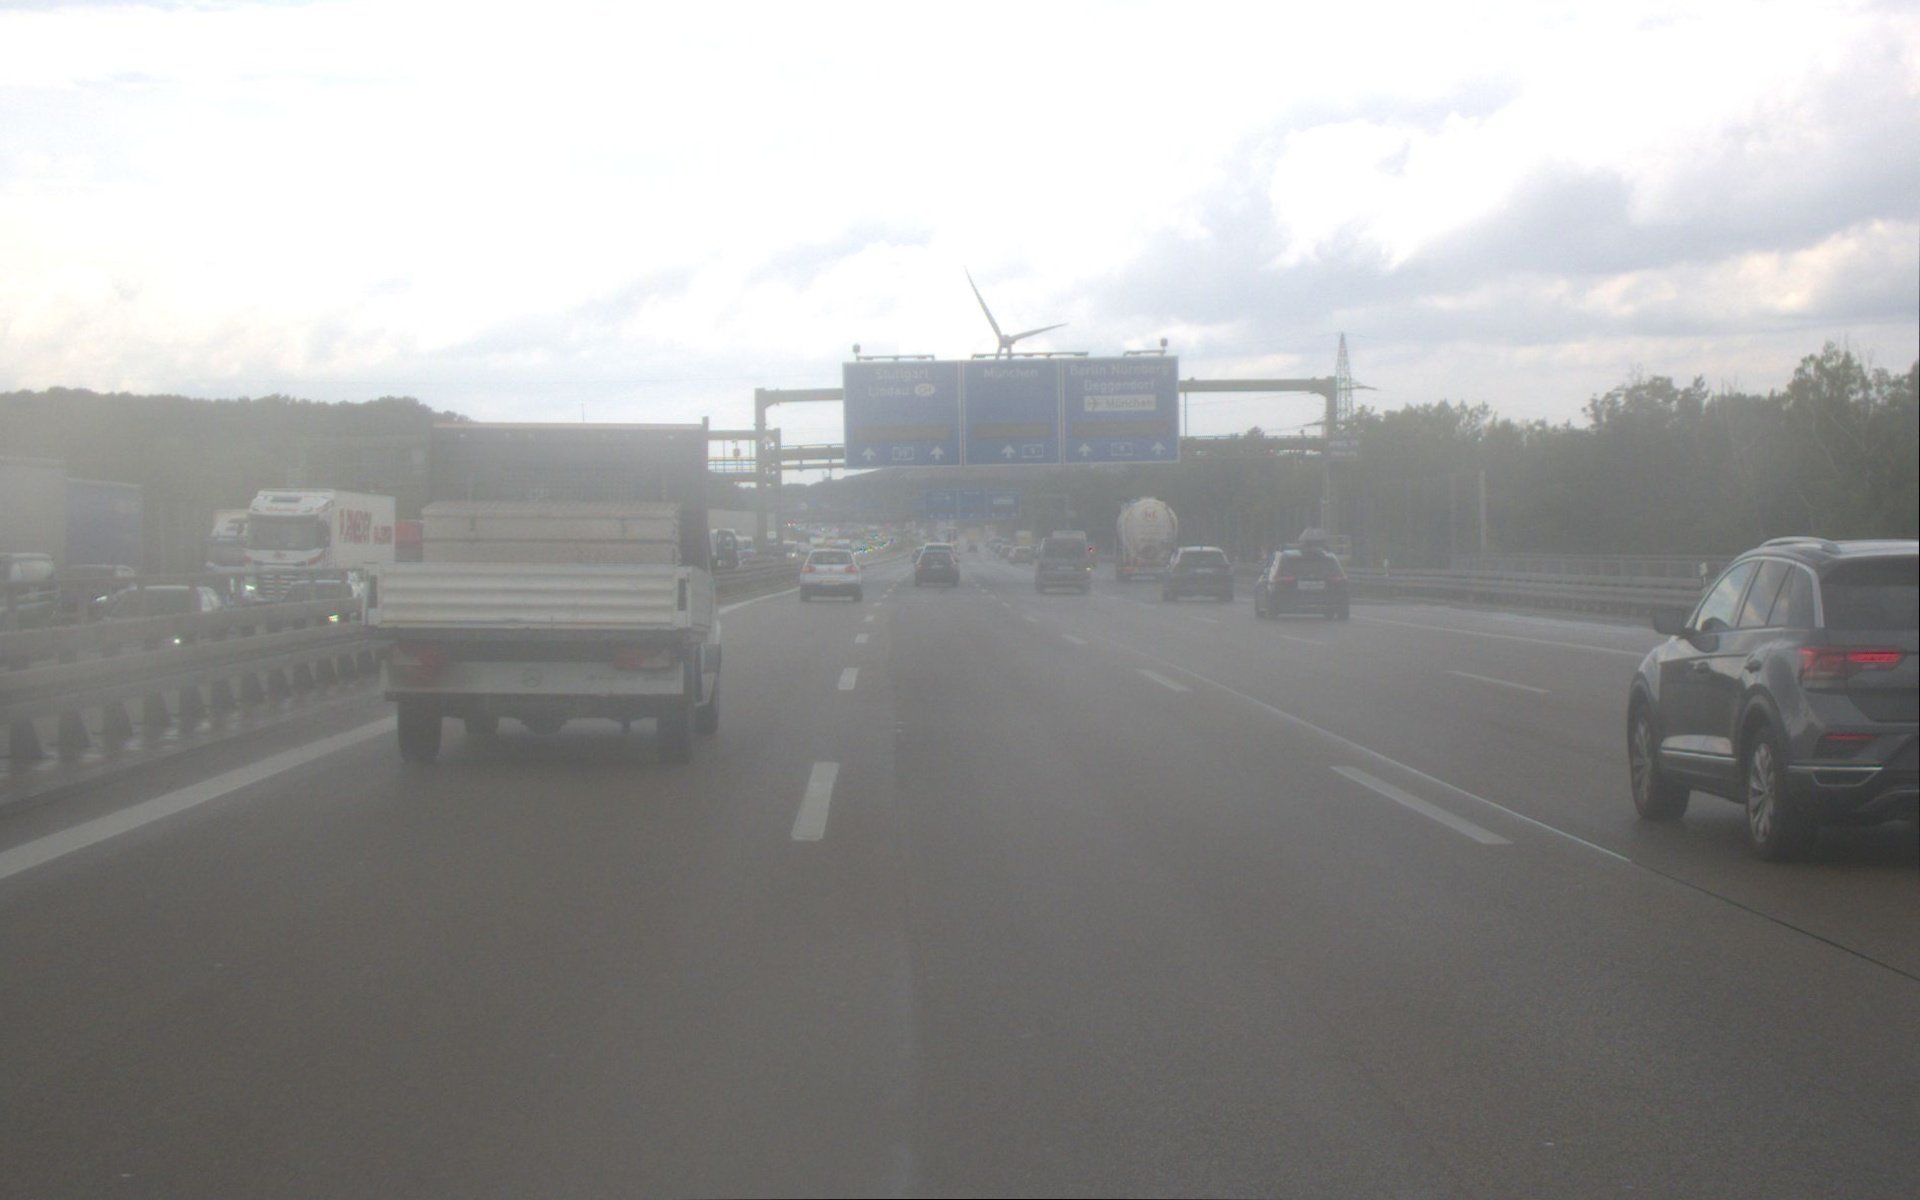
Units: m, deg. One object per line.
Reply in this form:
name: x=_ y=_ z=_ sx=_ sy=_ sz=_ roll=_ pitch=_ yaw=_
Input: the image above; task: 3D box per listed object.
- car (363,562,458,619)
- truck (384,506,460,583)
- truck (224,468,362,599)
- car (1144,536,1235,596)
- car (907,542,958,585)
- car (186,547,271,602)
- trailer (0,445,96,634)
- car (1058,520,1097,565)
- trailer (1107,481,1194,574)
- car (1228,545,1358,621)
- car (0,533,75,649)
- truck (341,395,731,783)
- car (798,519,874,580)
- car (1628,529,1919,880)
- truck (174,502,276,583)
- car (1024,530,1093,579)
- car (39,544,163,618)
car: x=-13.976 y=-0.258 z=87.676 sx=1.719 sy=1.349 sz=4.626 roll=-1 pitch=1 yaw=-1
truck: x=-25.409 y=-2.654 z=162.589 sx=2.463 sy=3.524 sz=7.808 roll=0 pitch=1 yaw=-1
truck: x=-22.055 y=-2.232 z=114.096 sx=3.177 sy=4.179 sz=7.738 roll=0 pitch=1 yaw=-1
car: x=6.745 y=-1.030 z=101.346 sx=2.045 sy=1.693 sz=5.008 roll=0 pitch=1 yaw=-3
car: x=-1.144 y=-1.507 z=140.033 sx=2.045 sy=1.693 sz=4.000 roll=0 pitch=1 yaw=-1
car: x=-21.591 y=-0.782 z=101.541 sx=1.645 sy=1.540 sz=4.000 roll=0 pitch=1 yaw=0
trailer: x=-21.494 y=-1.299 z=72.804 sx=3.243 sy=3.920 sz=13.016 roll=1 pitch=1 yaw=-1
car: x=6.586 y=-3.254 z=192.798 sx=2.045 sy=2.489 sz=4.000 roll=0 pitch=1 yaw=0
trailer: x=8.771 y=-3.349 z=159.793 sx=3.333 sy=4.161 sz=11.839 roll=1 pitch=1 yaw=0
car: x=7.388 y=-0.402 z=76.770 sx=2.104 sy=1.600 sz=5.066 roll=0 pitch=1 yaw=-3
car: x=-17.905 y=-0.197 z=63.234 sx=1.821 sy=2.045 sz=5.676 roll=-1 pitch=1 yaw=-1
truck: x=-2.903 y=-0.147 z=25.242 sx=2.352 sy=2.400 sz=7.359 roll=1 pitch=1 yaw=-3
car: x=-3.515 y=-1.451 z=98.284 sx=2.045 sy=1.693 sz=4.000 roll=0 pitch=1 yaw=0
car: x=4.639 y=0.443 z=17.167 sx=1.792 sy=1.557 sz=3.722 roll=0 pitch=1 yaw=-1
truck: x=-28.035 y=-2.220 z=131.392 sx=2.517 sy=2.976 sz=7.022 roll=-1 pitch=1 yaw=-2
car: x=3.477 y=-1.625 z=121.895 sx=2.097 sy=1.693 sz=4.001 roll=0 pitch=1 yaw=-3
car: x=-21.457 y=-0.503 z=86.038 sx=1.968 sy=1.741 sz=4.575 roll=0 pitch=1 yaw=0
